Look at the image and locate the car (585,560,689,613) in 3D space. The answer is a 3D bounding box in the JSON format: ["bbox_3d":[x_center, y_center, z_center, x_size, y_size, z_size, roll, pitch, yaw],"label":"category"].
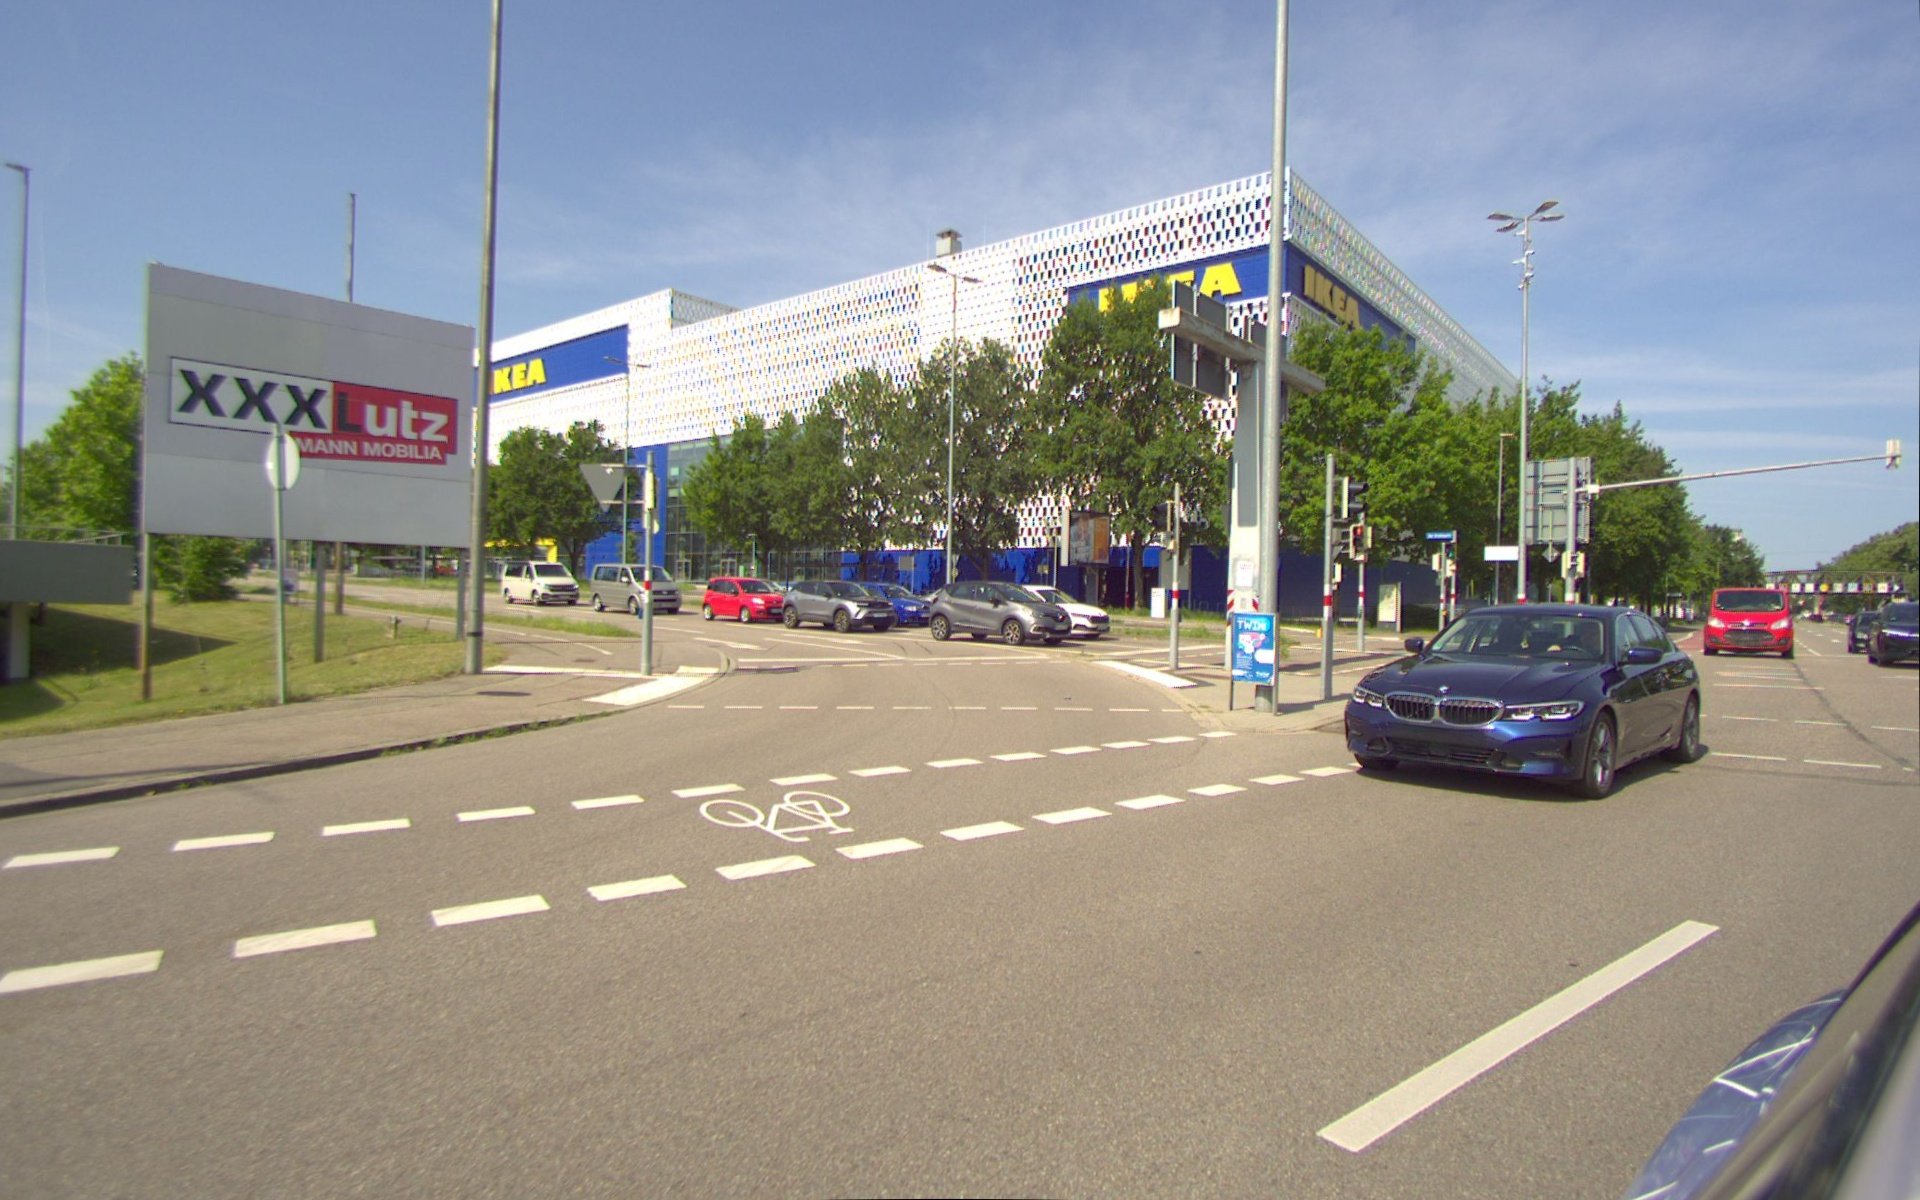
[{"bbox_3d":[-12.820,-0.585,40.023,4.674,2.000,1.932,2,2,44],"label":"car"}]

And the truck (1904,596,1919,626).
[{"bbox_3d":[87.241,0.991,90.934,2.365,2.658,6.594,0,-1,33],"label":"truck"}]

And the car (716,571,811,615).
[{"bbox_3d":[-7.764,-0.306,39.706,1.656,1.640,4.119,0,1,-45],"label":"car"}]

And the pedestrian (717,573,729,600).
[{"bbox_3d":[-17.683,-1.007,75.478,0.595,2.039,0.676,-2,-1,26],"label":"pedestrian"}]

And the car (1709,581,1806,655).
[{"bbox_3d":[22.679,0.475,28.872,2.004,1.931,4.744,-1,-1,37],"label":"car"}]

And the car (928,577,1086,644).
[{"bbox_3d":[1.150,0.230,26.131,3.886,1.578,1.779,1,0,44],"label":"car"}]

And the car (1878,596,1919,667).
[{"bbox_3d":[22.852,0.706,23.672,1.840,1.559,3.942,-1,-1,40],"label":"car"}]

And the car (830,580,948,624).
[{"bbox_3d":[-2.448,0.028,34.153,4.043,1.359,1.697,1,1,43],"label":"car"}]

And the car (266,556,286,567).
[{"bbox_3d":[-98.410,-5.523,145.559,3.903,1.554,1.615,1,0,44],"label":"car"}]

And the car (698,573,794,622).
[{"bbox_3d":[-7.435,-0.093,34.971,3.471,1.595,1.573,1,0,45],"label":"car"}]

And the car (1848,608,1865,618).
[{"bbox_3d":[136.225,1.980,153.827,1.726,1.456,3.815,3,1,39],"label":"car"}]

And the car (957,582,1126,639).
[{"bbox_3d":[2.269,0.236,29.189,4.716,1.443,1.928,2,2,44],"label":"car"}]

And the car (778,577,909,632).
[{"bbox_3d":[-3.632,0.089,31.173,4.028,1.527,1.879,2,2,43],"label":"car"}]

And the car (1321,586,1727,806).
[{"bbox_3d":[5.101,0.659,8.849,4.460,1.447,1.797,1,-1,-42],"label":"car"}]

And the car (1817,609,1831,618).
[{"bbox_3d":[158.878,2.469,186.123,1.860,1.531,3.939,2,0,41],"label":"car"}]

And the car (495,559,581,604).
[{"bbox_3d":[-19.274,-0.858,46.099,4.774,1.960,1.884,1,1,44],"label":"car"}]

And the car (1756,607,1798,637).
[{"bbox_3d":[45.031,1.204,55.816,1.641,1.559,3.945,-3,-2,38],"label":"car"}]

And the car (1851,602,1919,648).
[{"bbox_3d":[32.351,0.836,35.407,1.553,1.528,3.786,-1,-1,38],"label":"car"}]
